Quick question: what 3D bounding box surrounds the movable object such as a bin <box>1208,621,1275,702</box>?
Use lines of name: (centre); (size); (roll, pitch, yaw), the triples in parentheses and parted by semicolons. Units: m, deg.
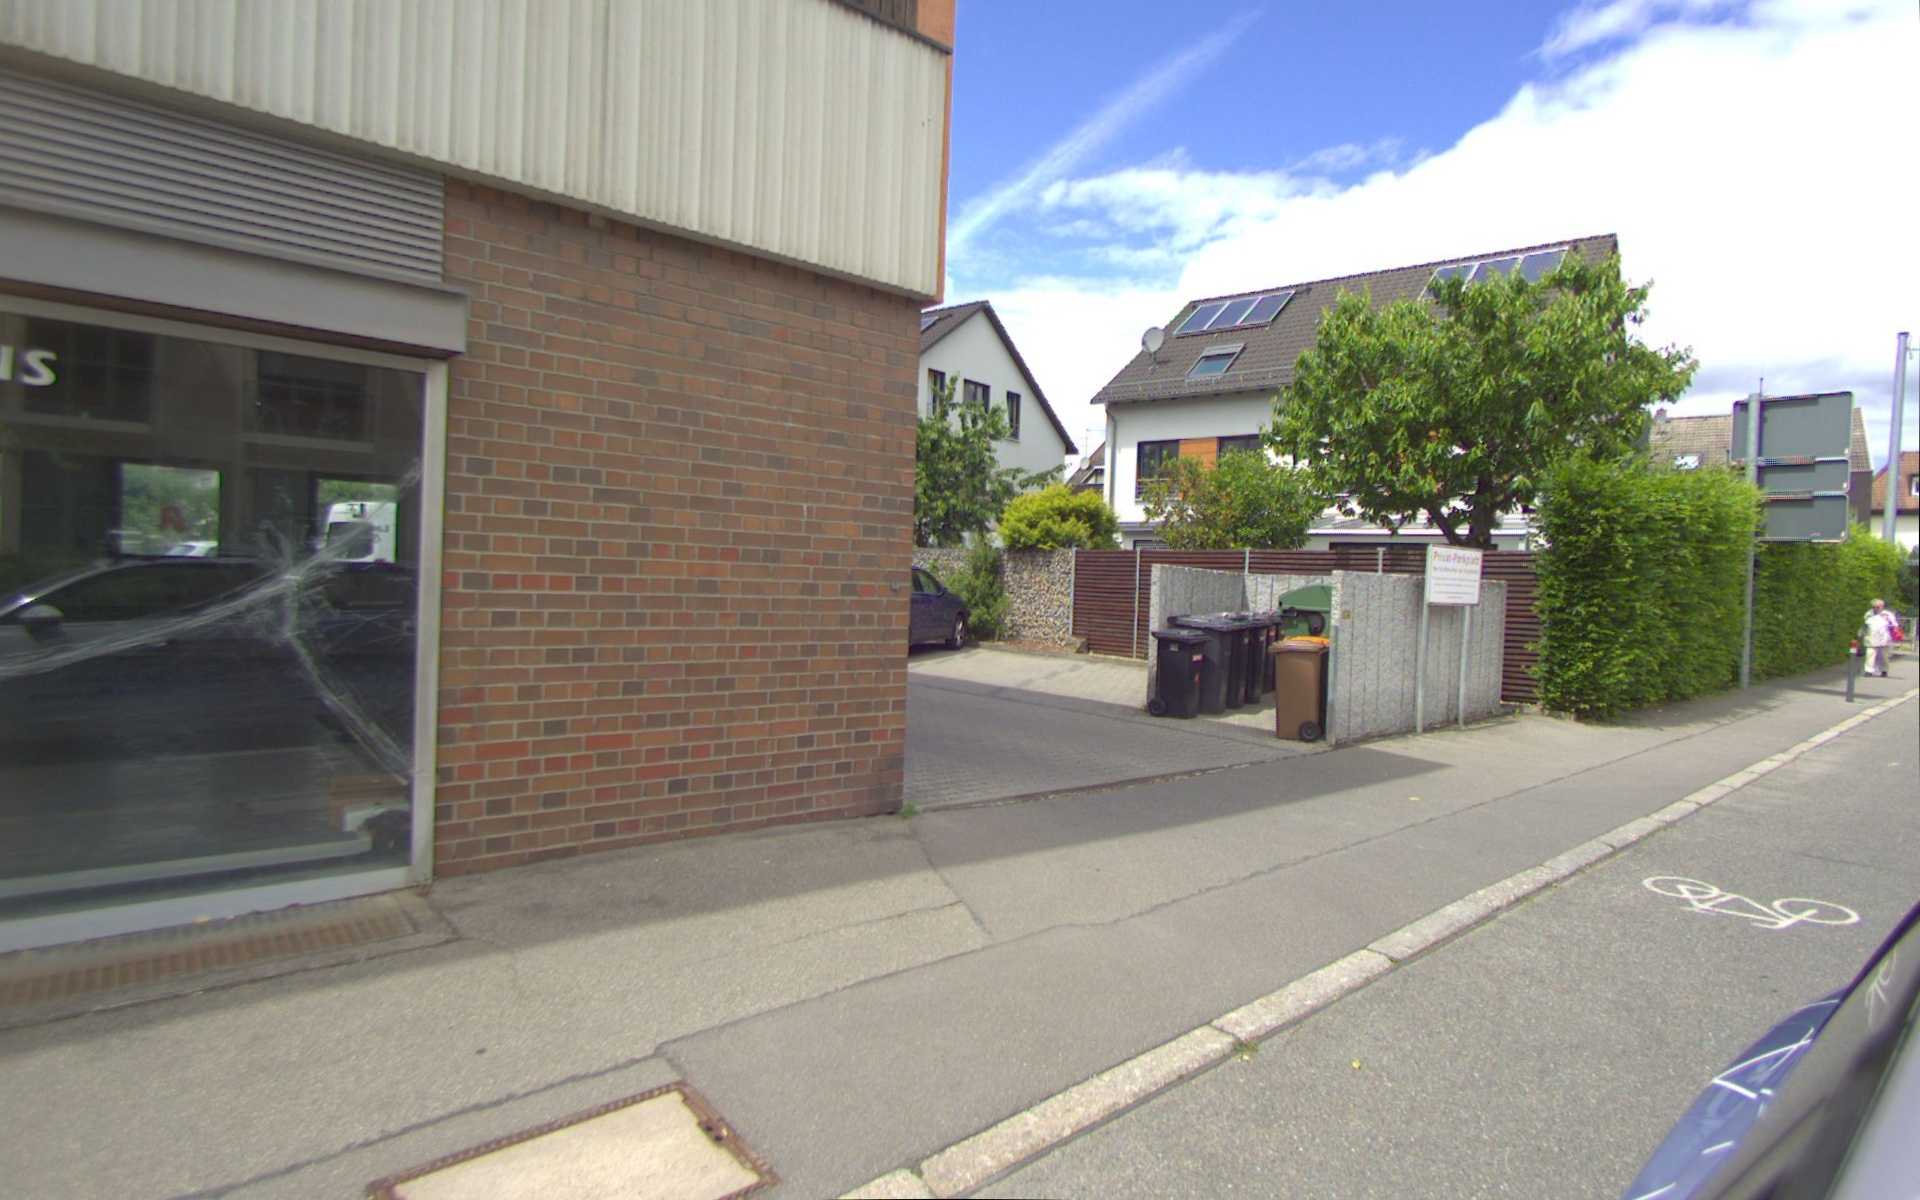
movable object such as a bin: (3.382, 0.719, 12.153); (0.630, 0.903, 0.534); (1, 1, 33)

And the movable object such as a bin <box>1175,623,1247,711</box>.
movable object such as a bin: (2.788, 0.726, 11.235); (0.630, 0.903, 0.534); (1, 1, 33)

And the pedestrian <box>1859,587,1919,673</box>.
pedestrian: (18.585, 0.574, 20.201); (0.641, 1.637, 0.801); (1, 3, -39)

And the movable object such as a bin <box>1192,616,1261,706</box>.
movable object such as a bin: (3.081, 0.685, 11.698); (0.624, 0.979, 0.534); (1, 1, 33)

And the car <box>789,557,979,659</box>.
car: (-1.204, 0.087, 17.767); (1.768, 1.555, 3.767); (2, 2, 23)

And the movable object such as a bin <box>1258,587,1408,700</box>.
movable object such as a bin: (4.657, 0.496, 12.618); (1.509, 1.278, 1.190); (0, 1, -43)

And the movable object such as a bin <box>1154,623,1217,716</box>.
movable object such as a bin: (2.411, 0.729, 10.822); (0.490, 0.924, 0.534); (1, 1, 33)

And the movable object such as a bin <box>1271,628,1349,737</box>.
movable object such as a bin: (3.359, 0.768, 9.702); (0.530, 0.963, 0.678); (1, 1, 36)
